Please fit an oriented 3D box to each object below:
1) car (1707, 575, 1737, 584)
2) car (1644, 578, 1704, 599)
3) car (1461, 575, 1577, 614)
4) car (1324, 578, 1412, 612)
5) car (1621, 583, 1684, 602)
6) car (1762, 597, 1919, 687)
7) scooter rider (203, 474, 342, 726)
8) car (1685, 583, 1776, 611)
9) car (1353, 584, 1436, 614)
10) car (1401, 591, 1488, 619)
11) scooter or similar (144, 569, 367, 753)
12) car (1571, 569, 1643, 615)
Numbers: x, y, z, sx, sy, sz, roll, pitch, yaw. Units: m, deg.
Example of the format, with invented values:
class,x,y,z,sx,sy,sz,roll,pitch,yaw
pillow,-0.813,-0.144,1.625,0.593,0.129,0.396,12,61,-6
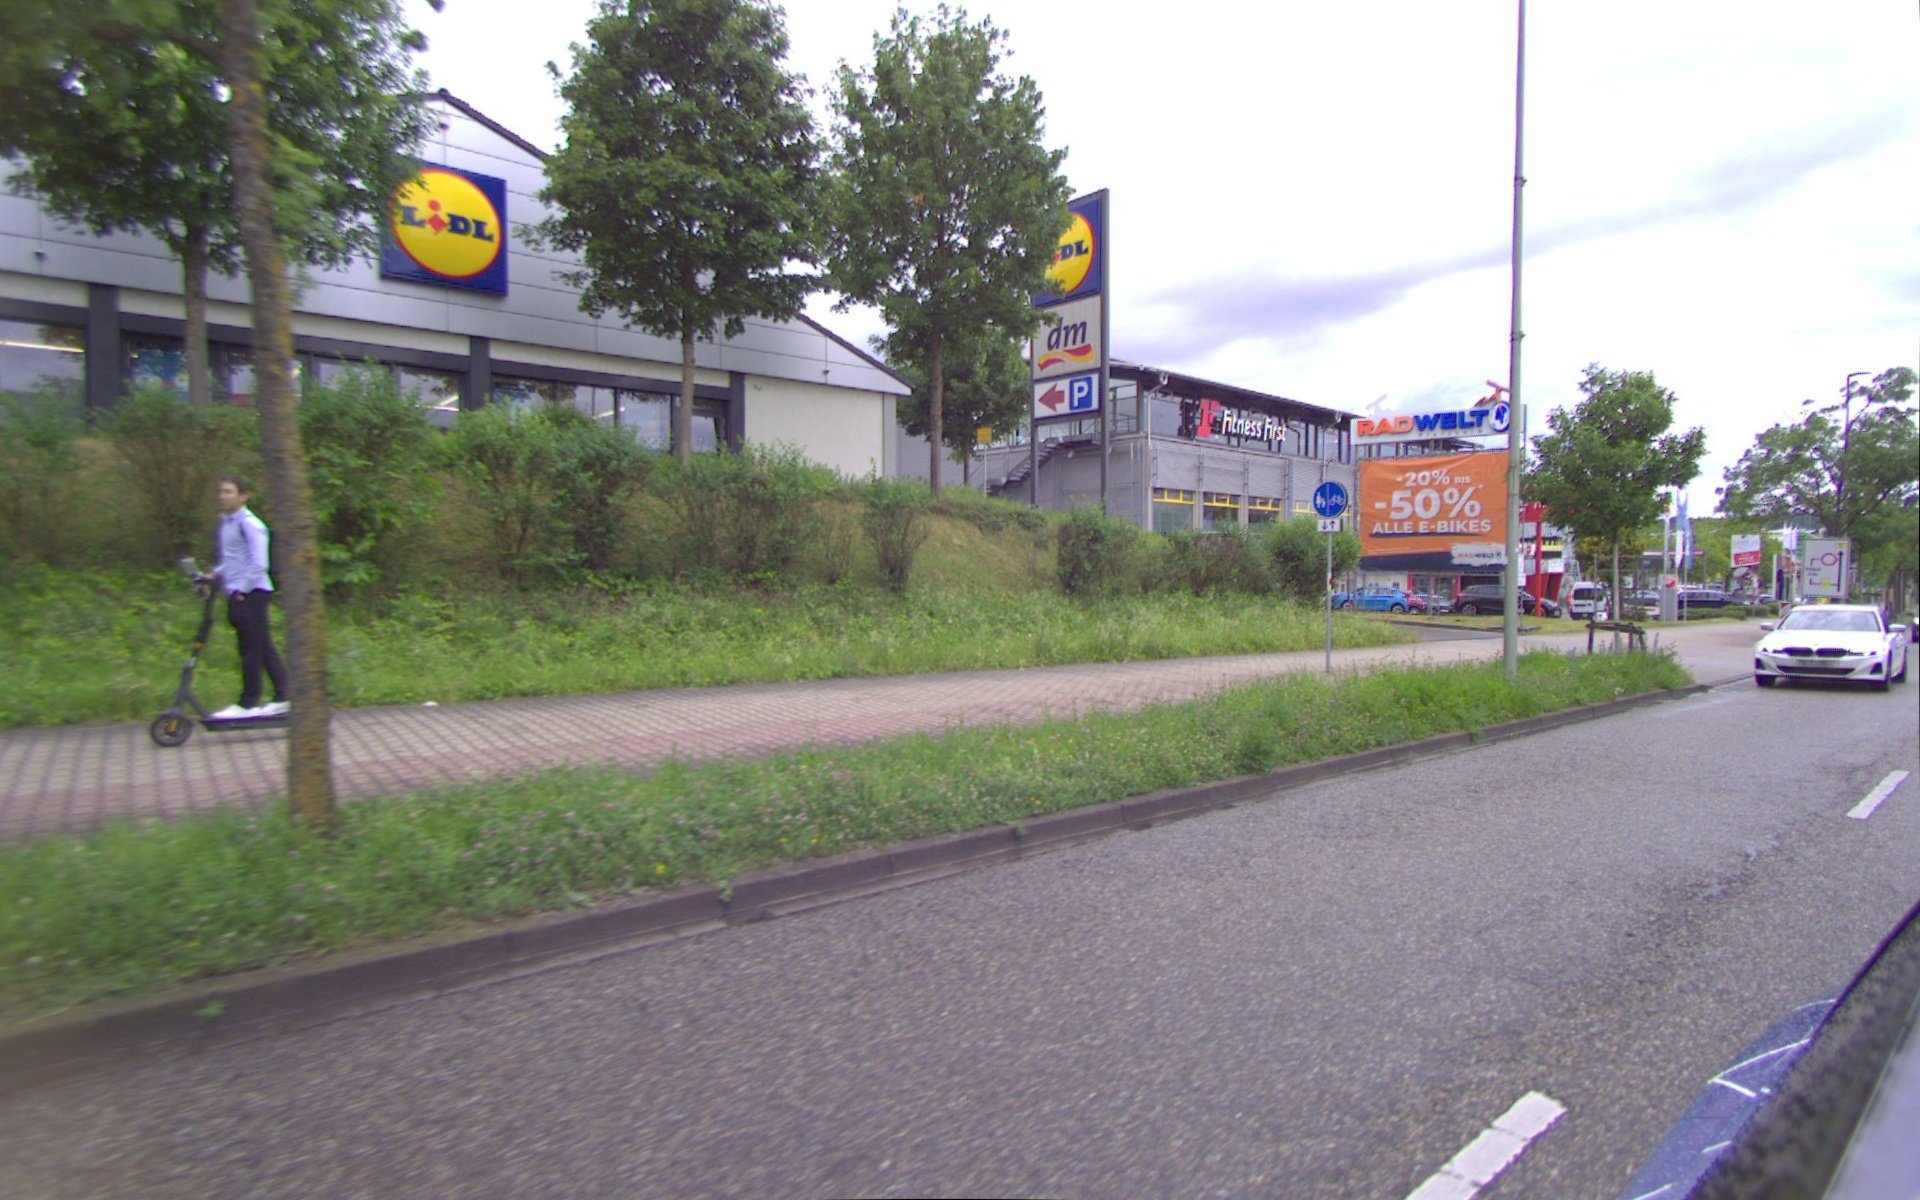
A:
class,x,y,z,sx,sy,sz,roll,pitch,yaw
car,133.871,-3.596,177.905,1.770,1.529,3.991,0,2,-44
car,71.147,-1.168,100.929,4.423,1.701,1.797,3,4,8
car,23.161,-0.236,42.001,4.076,1.457,1.775,2,-1,34
car,21.319,-0.261,52.978,3.841,1.579,1.737,2,-1,5
car,64.159,-0.696,93.770,4.418,1.412,1.800,3,4,4
car,16.242,0.679,18.566,4.466,1.459,1.805,0,0,-44
scooter rider,-5.378,-0.024,7.918,0.843,1.842,0.697,-1,3,-39
car,54.020,-0.240,71.028,1.889,1.620,4.676,1,4,-34
car,23.860,-0.039,55.669,3.807,1.521,1.736,2,-1,7
car,28.466,0.281,59.547,4.182,1.489,1.738,2,-1,3
scooter or similar,-5.456,0.417,7.872,1.376,1.279,0.696,-1,4,-40
car,38.483,-0.444,60.141,5.584,2.569,2.229,0,-1,-43
